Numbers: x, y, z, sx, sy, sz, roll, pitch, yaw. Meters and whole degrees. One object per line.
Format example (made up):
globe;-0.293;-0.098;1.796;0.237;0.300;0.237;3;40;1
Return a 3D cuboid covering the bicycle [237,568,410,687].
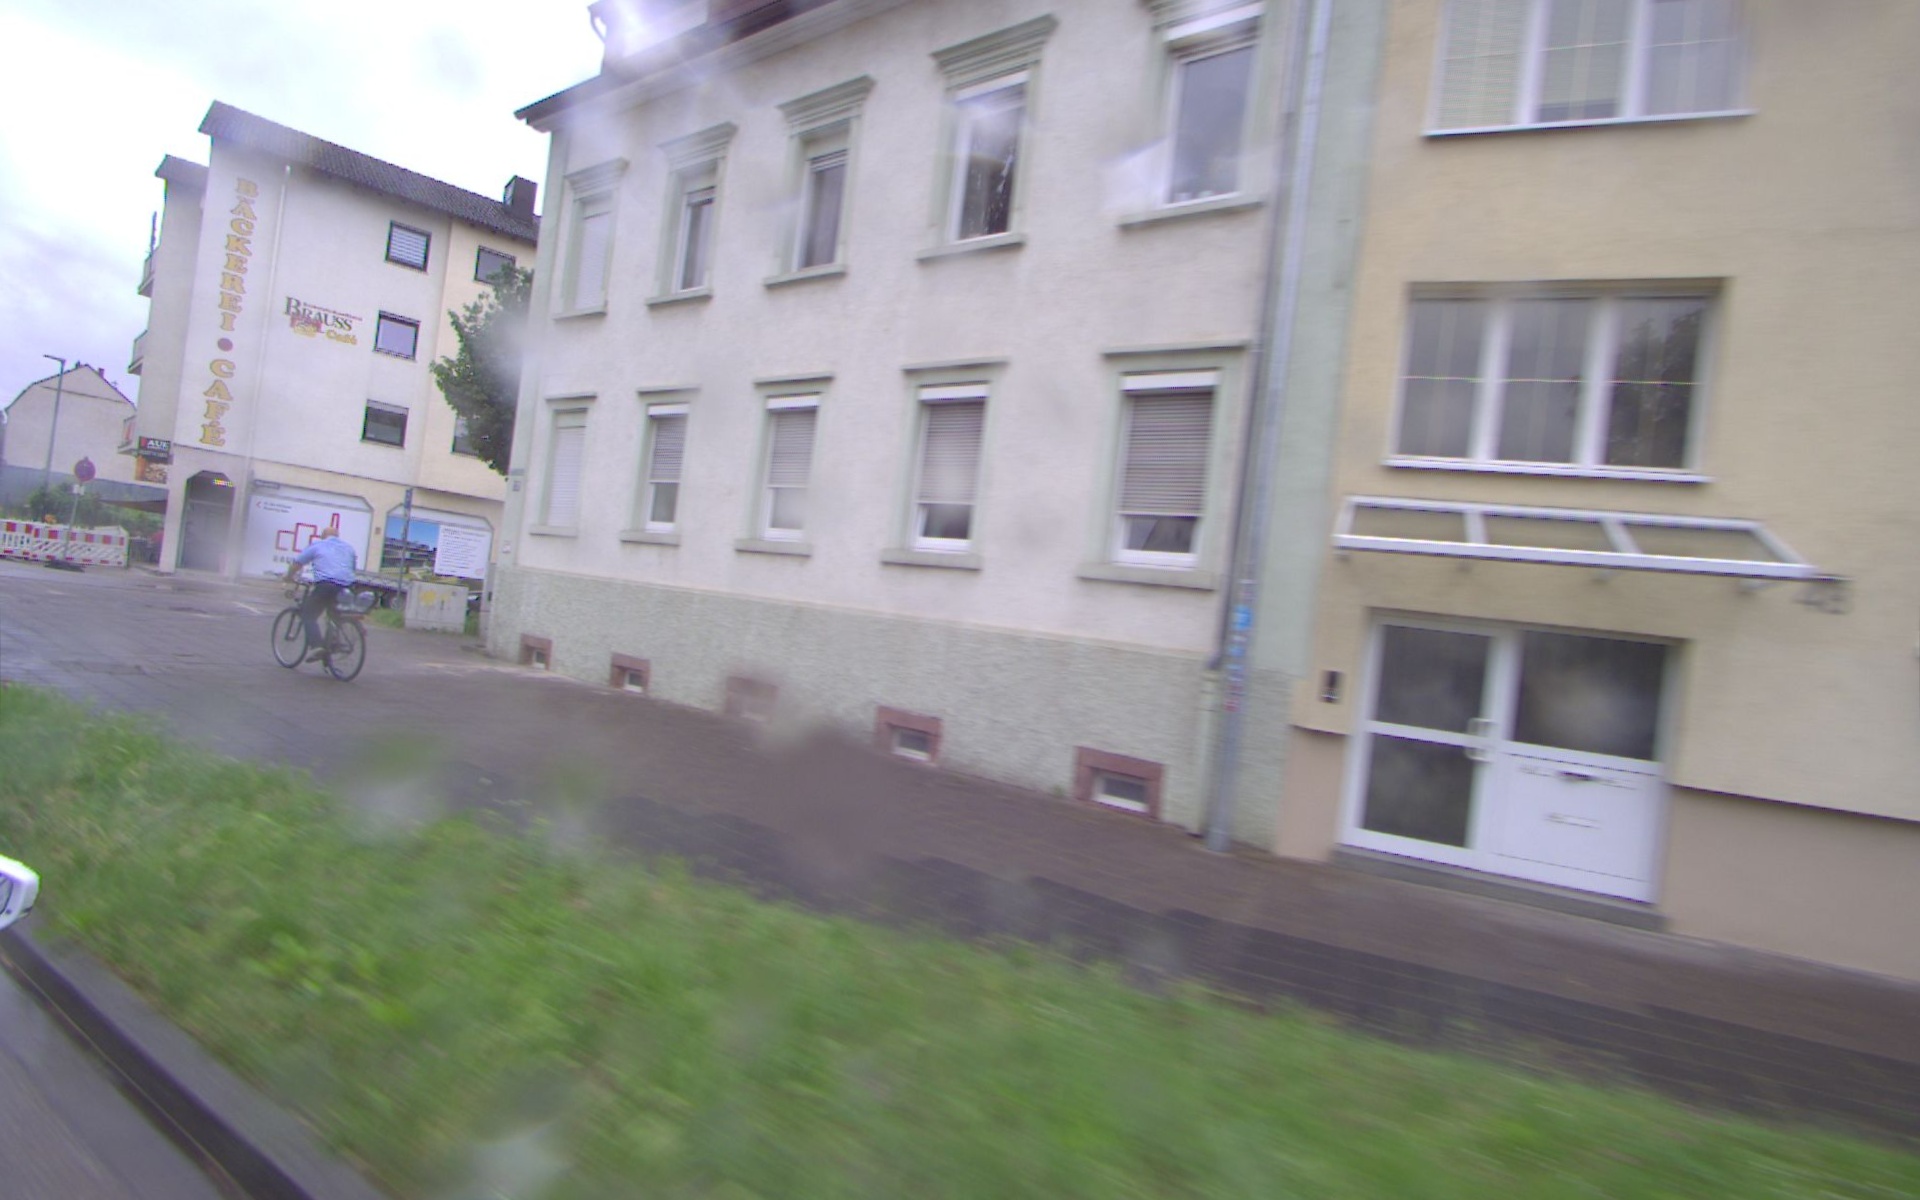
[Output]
bicycle;-7.294;0.310;11.511;1.937;1.072;0.675;7;-1;27

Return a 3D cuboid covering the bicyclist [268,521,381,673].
bicyclist;-7.222;-0.028;11.443;0.703;1.600;0.640;7;-1;27

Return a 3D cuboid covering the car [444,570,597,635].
car;-13.554;0.091;31.118;3.968;1.418;1.721;10;-3;-37

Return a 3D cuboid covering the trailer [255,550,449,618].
trailer;-17.174;-0.434;28.558;4.494;1.245;1.808;9;-3;-35
